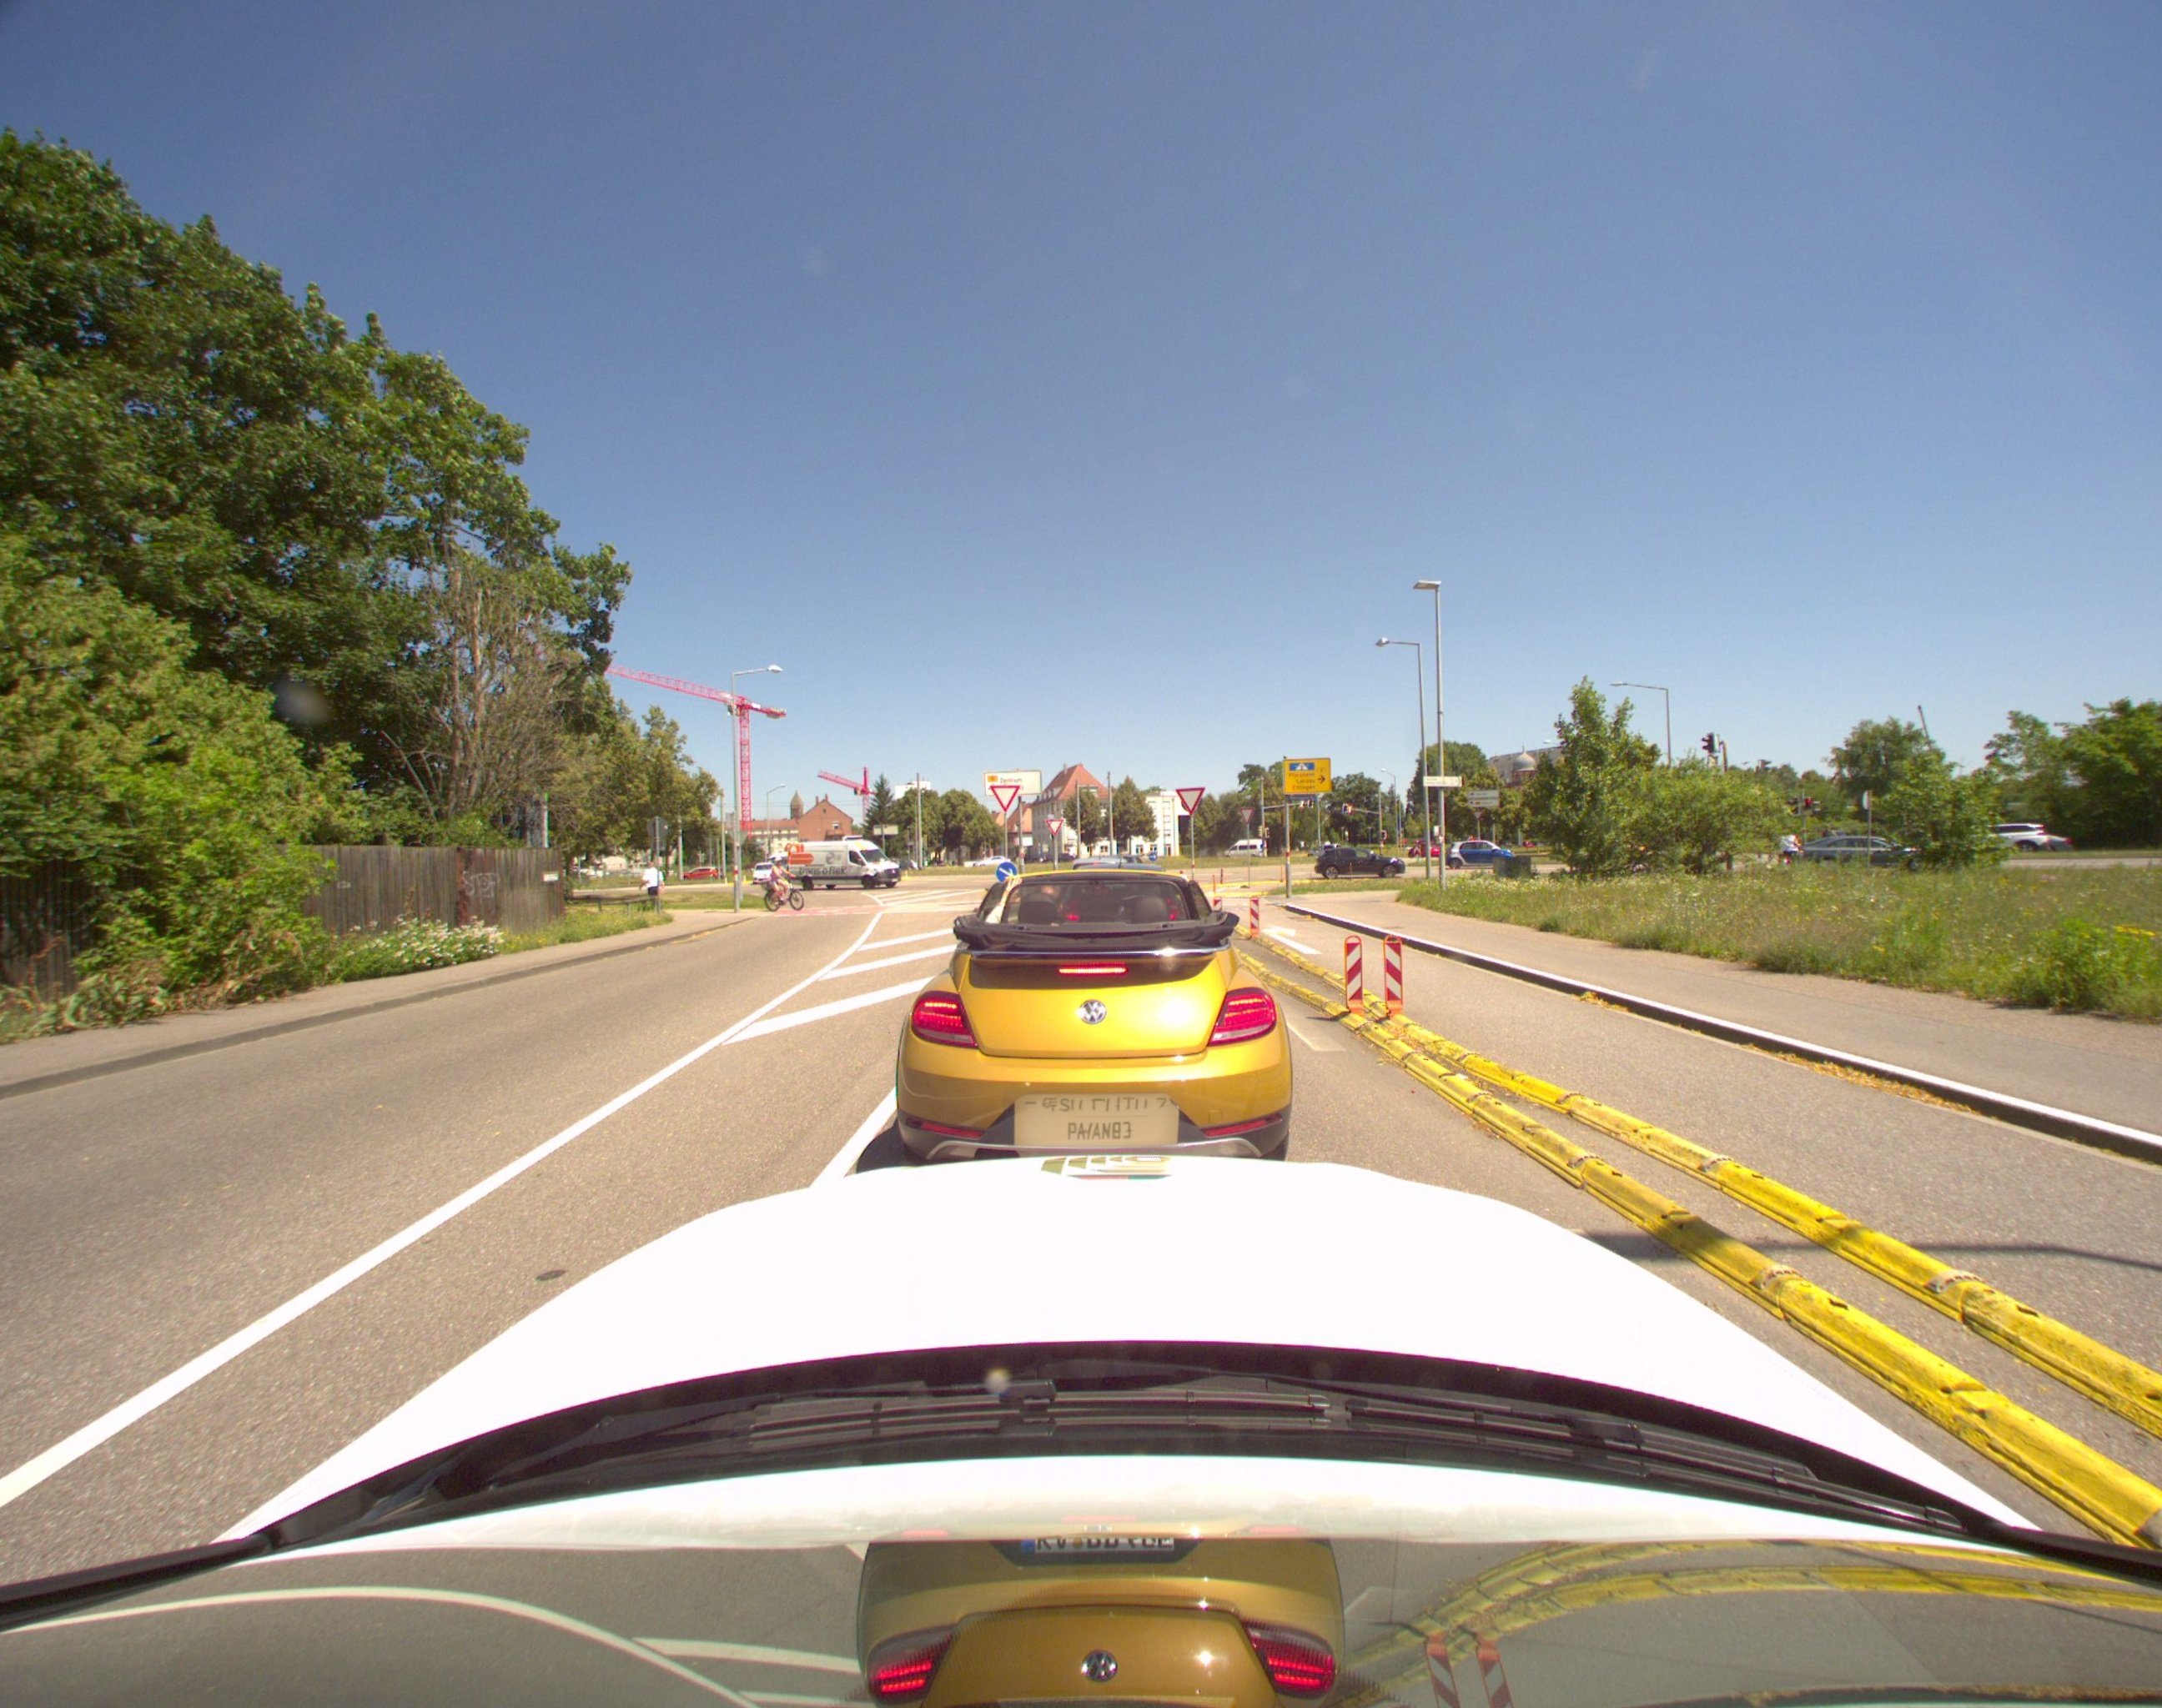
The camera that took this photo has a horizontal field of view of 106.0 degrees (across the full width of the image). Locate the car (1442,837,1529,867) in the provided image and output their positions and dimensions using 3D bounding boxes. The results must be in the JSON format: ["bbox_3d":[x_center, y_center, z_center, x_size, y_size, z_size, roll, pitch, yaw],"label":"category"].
[{"bbox_3d":[21.599,-0.074,43.647,3.954,1.552,1.736,-1,-1,20],"label":"car"}]

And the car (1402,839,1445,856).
[{"bbox_3d":[34.384,-0.626,81.842,1.896,1.654,4.328,0,-1,-12],"label":"car"}]

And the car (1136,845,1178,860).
[{"bbox_3d":[10.253,-0.199,109.646,5.272,1.962,2.002,-1,-1,15],"label":"car"}]

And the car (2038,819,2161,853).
[{"bbox_3d":[51.417,-0.870,40.721,4.389,1.592,1.860,-1,-1,43],"label":"car"}]

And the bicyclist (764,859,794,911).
[{"bbox_3d":[-10.596,1.084,28.568,0.664,1.752,0.596,-2,1,23],"label":"bicyclist"}]

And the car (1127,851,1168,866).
[{"bbox_3d":[8.995,0.583,109.844,5.271,1.962,2.002,-1,-1,15],"label":"car"}]

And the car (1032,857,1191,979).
[{"bbox_3d":[0.426,0.771,11.802,1.844,1.366,4.260,-2,0,2],"label":"car"}]

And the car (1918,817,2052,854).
[{"bbox_3d":[45.861,-0.916,41.477,4.389,1.736,1.860,-1,-1,43],"label":"car"}]

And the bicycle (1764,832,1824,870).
[{"bbox_3d":[25.895,-0.114,29.557,2.902,1.353,0.635,0,-1,-28],"label":"bicycle"}]

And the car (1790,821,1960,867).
[{"bbox_3d":[30.590,-0.385,31.590,4.362,1.595,2.013,-2,1,32],"label":"car"}]

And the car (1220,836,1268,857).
[{"bbox_3d":[19.229,-0.849,96.196,5.259,2.397,2.007,-1,-1,38],"label":"car"}]

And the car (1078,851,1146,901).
[{"bbox_3d":[1.047,0.673,27.730,2.057,1.481,4.545,-2,0,2],"label":"car"}]

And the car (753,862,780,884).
[{"bbox_3d":[-23.531,1.380,60.913,1.783,1.527,3.843,-2,0,-23],"label":"car"}]

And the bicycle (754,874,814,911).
[{"bbox_3d":[-10.392,1.342,28.481,2.073,1.221,0.637,-2,0,24],"label":"bicycle"}]

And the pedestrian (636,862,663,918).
[{"bbox_3d":[-14.091,1.153,26.595,0.640,1.786,0.958,0,-1,-36],"label":"pedestrian"}]

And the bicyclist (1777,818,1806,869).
[{"bbox_3d":[25.759,-0.375,29.512,0.573,1.841,0.603,0,-1,-29],"label":"bicyclist"}]

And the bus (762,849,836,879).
[{"bbox_3d":[-30.868,1.085,89.232,7.305,3.172,2.237,0,-1,-34],"label":"bus"}]

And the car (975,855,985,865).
[{"bbox_3d":[-18.231,1.109,146.893,1.752,1.794,3.991,0,-1,-7],"label":"car"}]

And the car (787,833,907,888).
[{"bbox_3d":[-12.808,0.362,44.408,6.797,2.828,2.012,-1,-1,28],"label":"car"}]

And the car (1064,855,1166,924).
[{"bbox_3d":[0.758,0.745,18.717,2.057,1.382,4.259,0,0,2],"label":"car"}]

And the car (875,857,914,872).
[{"bbox_3d":[-21.657,1.194,94.760,4.019,1.772,1.766,0,-1,-38],"label":"car"}]

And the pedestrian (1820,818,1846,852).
[{"bbox_3d":[37.902,-0.953,41.049,0.959,1.660,0.892,-1,-1,44],"label":"pedestrian"}]

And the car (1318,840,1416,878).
[{"bbox_3d":[13.176,0.230,37.696,3.964,1.551,1.732,-2,2,8],"label":"car"}]

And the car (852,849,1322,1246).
[{"bbox_3d":[0.085,0.746,5.197,1.758,1.481,4.259,0,0,2],"label":"car"}]

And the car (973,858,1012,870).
[{"bbox_3d":[-10.597,1.160,98.027,4.342,1.371,1.736,0,-1,-28],"label":"car"}]

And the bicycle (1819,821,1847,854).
[{"bbox_3d":[38.001,-0.824,41.158,0.972,1.597,2.900,-1,-1,43],"label":"bicycle"}]

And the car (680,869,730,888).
[{"bbox_3d":[-37.261,2.396,80.755,4.456,1.736,1.831,0,-1,-29],"label":"car"}]
